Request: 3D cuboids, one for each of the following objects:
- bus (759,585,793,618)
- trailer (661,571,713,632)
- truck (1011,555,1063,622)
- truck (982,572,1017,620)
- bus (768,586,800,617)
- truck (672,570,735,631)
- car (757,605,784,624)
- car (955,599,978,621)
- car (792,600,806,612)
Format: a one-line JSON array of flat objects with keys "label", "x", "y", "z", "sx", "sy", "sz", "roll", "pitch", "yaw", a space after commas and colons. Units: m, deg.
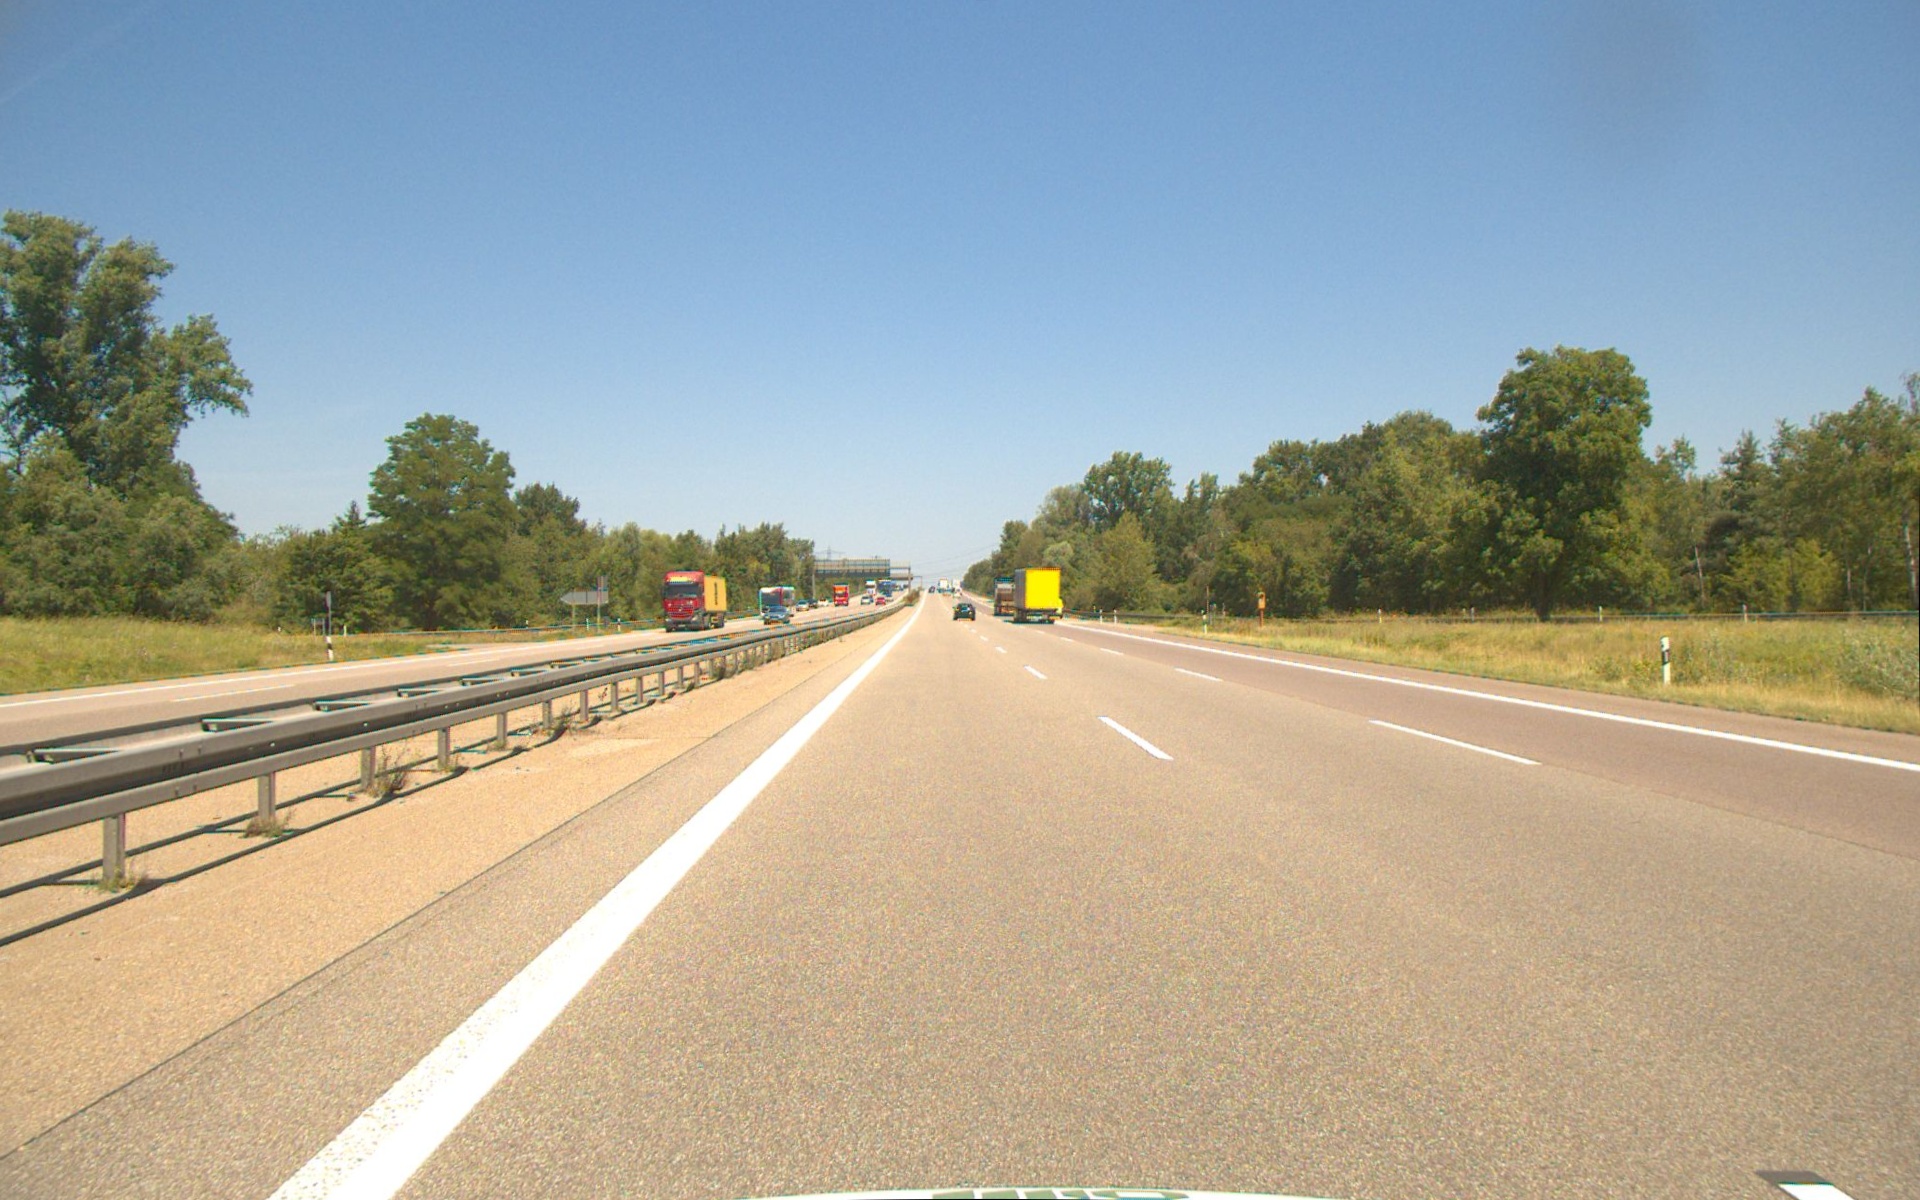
[{"label": "bus", "x": -20.044, "y": 0.162, "z": 180.738, "sx": 2.707, "sy": 3.507, "sz": 8.930, "roll": -1, "pitch": 0, "yaw": -1}, {"label": "trailer", "x": -18.589, "y": 0.087, "z": 112.974, "sx": 2.550, "sy": 4.061, "sz": 6.028, "roll": 1, "pitch": 0, "yaw": -1}, {"label": "truck", "x": 5.999, "y": -0.888, "z": 131.291, "sx": 3.308, "sy": 4.966, "sz": 15.084, "roll": 1, "pitch": 0, "yaw": 0}, {"label": "truck", "x": 4.191, "y": -0.386, "z": 179.423, "sx": 3.298, "sy": 4.966, "sz": 15.084, "roll": 1, "pitch": 0, "yaw": 0}, {"label": "bus", "x": -20.184, "y": 0.167, "z": 190.294, "sx": 2.707, "sy": 3.507, "sz": 10.144, "roll": -1, "pitch": 0, "yaw": -1}, {"label": "truck", "x": -18.581, "y": 0.032, "z": 120.472, "sx": 2.547, "sy": 4.118, "sz": 12.689, "roll": -3, "pitch": 0, "yaw": -1}, {"label": "car", "x": -15.262, "y": 1.190, "z": 133.525, "sx": 1.686, "sy": 1.404, "sz": 4.784, "roll": -4, "pitch": -1, "yaw": -2}, {"label": "car", "x": 0.526, "y": 0.830, "z": 138.941, "sx": 1.790, "sy": 1.736, "sz": 3.999, "roll": 1, "pitch": 0, "yaw": -1}, {"label": "car", "x": -25.069, "y": 0.980, "z": 257.373, "sx": 1.772, "sy": 1.803, "sz": 3.999, "roll": -1, "pitch": 0, "yaw": -1}]
